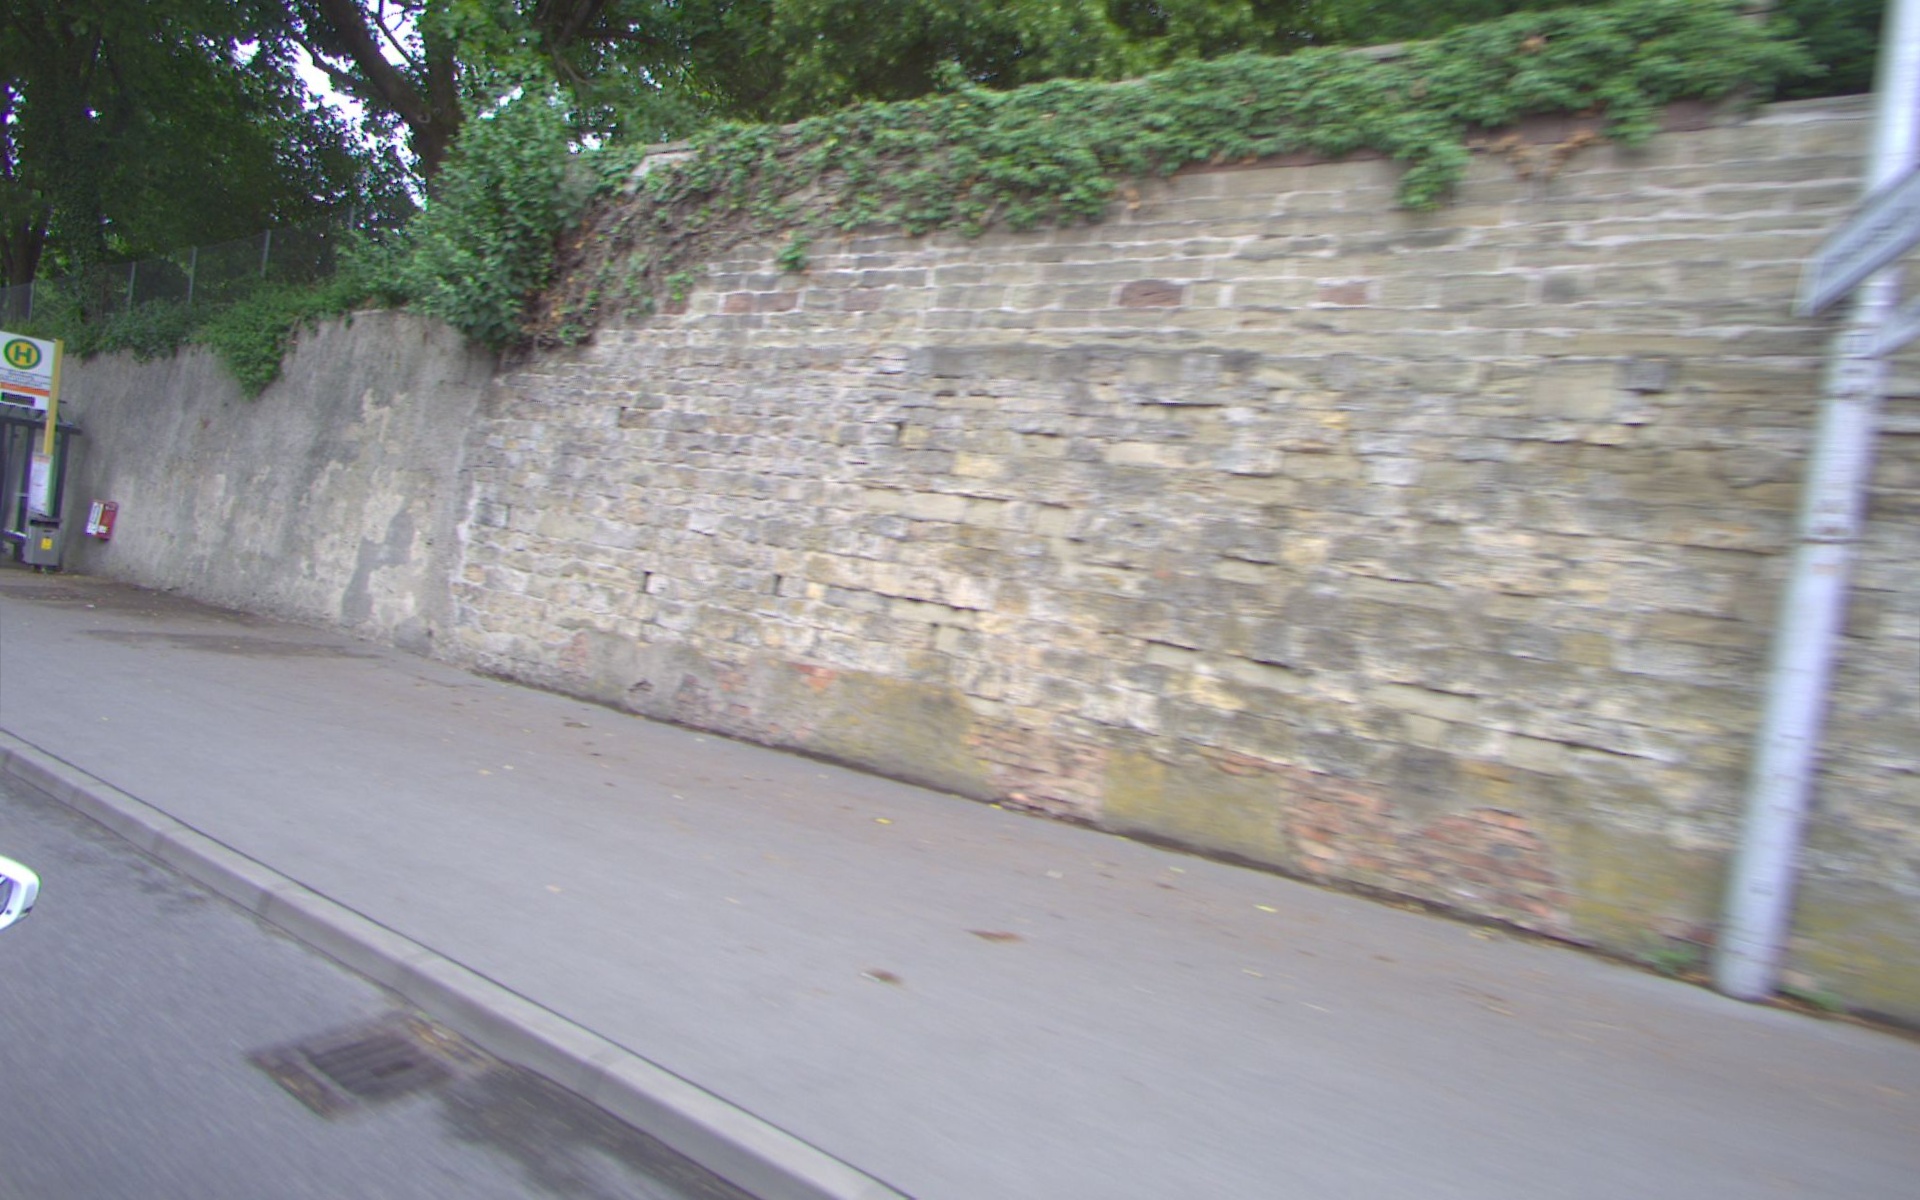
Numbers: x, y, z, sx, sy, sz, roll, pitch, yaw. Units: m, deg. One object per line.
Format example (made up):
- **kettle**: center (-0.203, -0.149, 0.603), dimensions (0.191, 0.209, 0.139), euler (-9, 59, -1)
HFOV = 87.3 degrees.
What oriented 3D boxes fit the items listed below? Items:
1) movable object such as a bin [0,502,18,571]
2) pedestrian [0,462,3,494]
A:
- **movable object such as a bin**: center (-15.048, -1.013, 15.403), dimensions (0.616, 1.033, 0.675), euler (8, 2, 27)
- **pedestrian**: center (-15.614, -1.399, 15.699), dimensions (0.620, 1.663, 0.722), euler (7, 1, 27)
